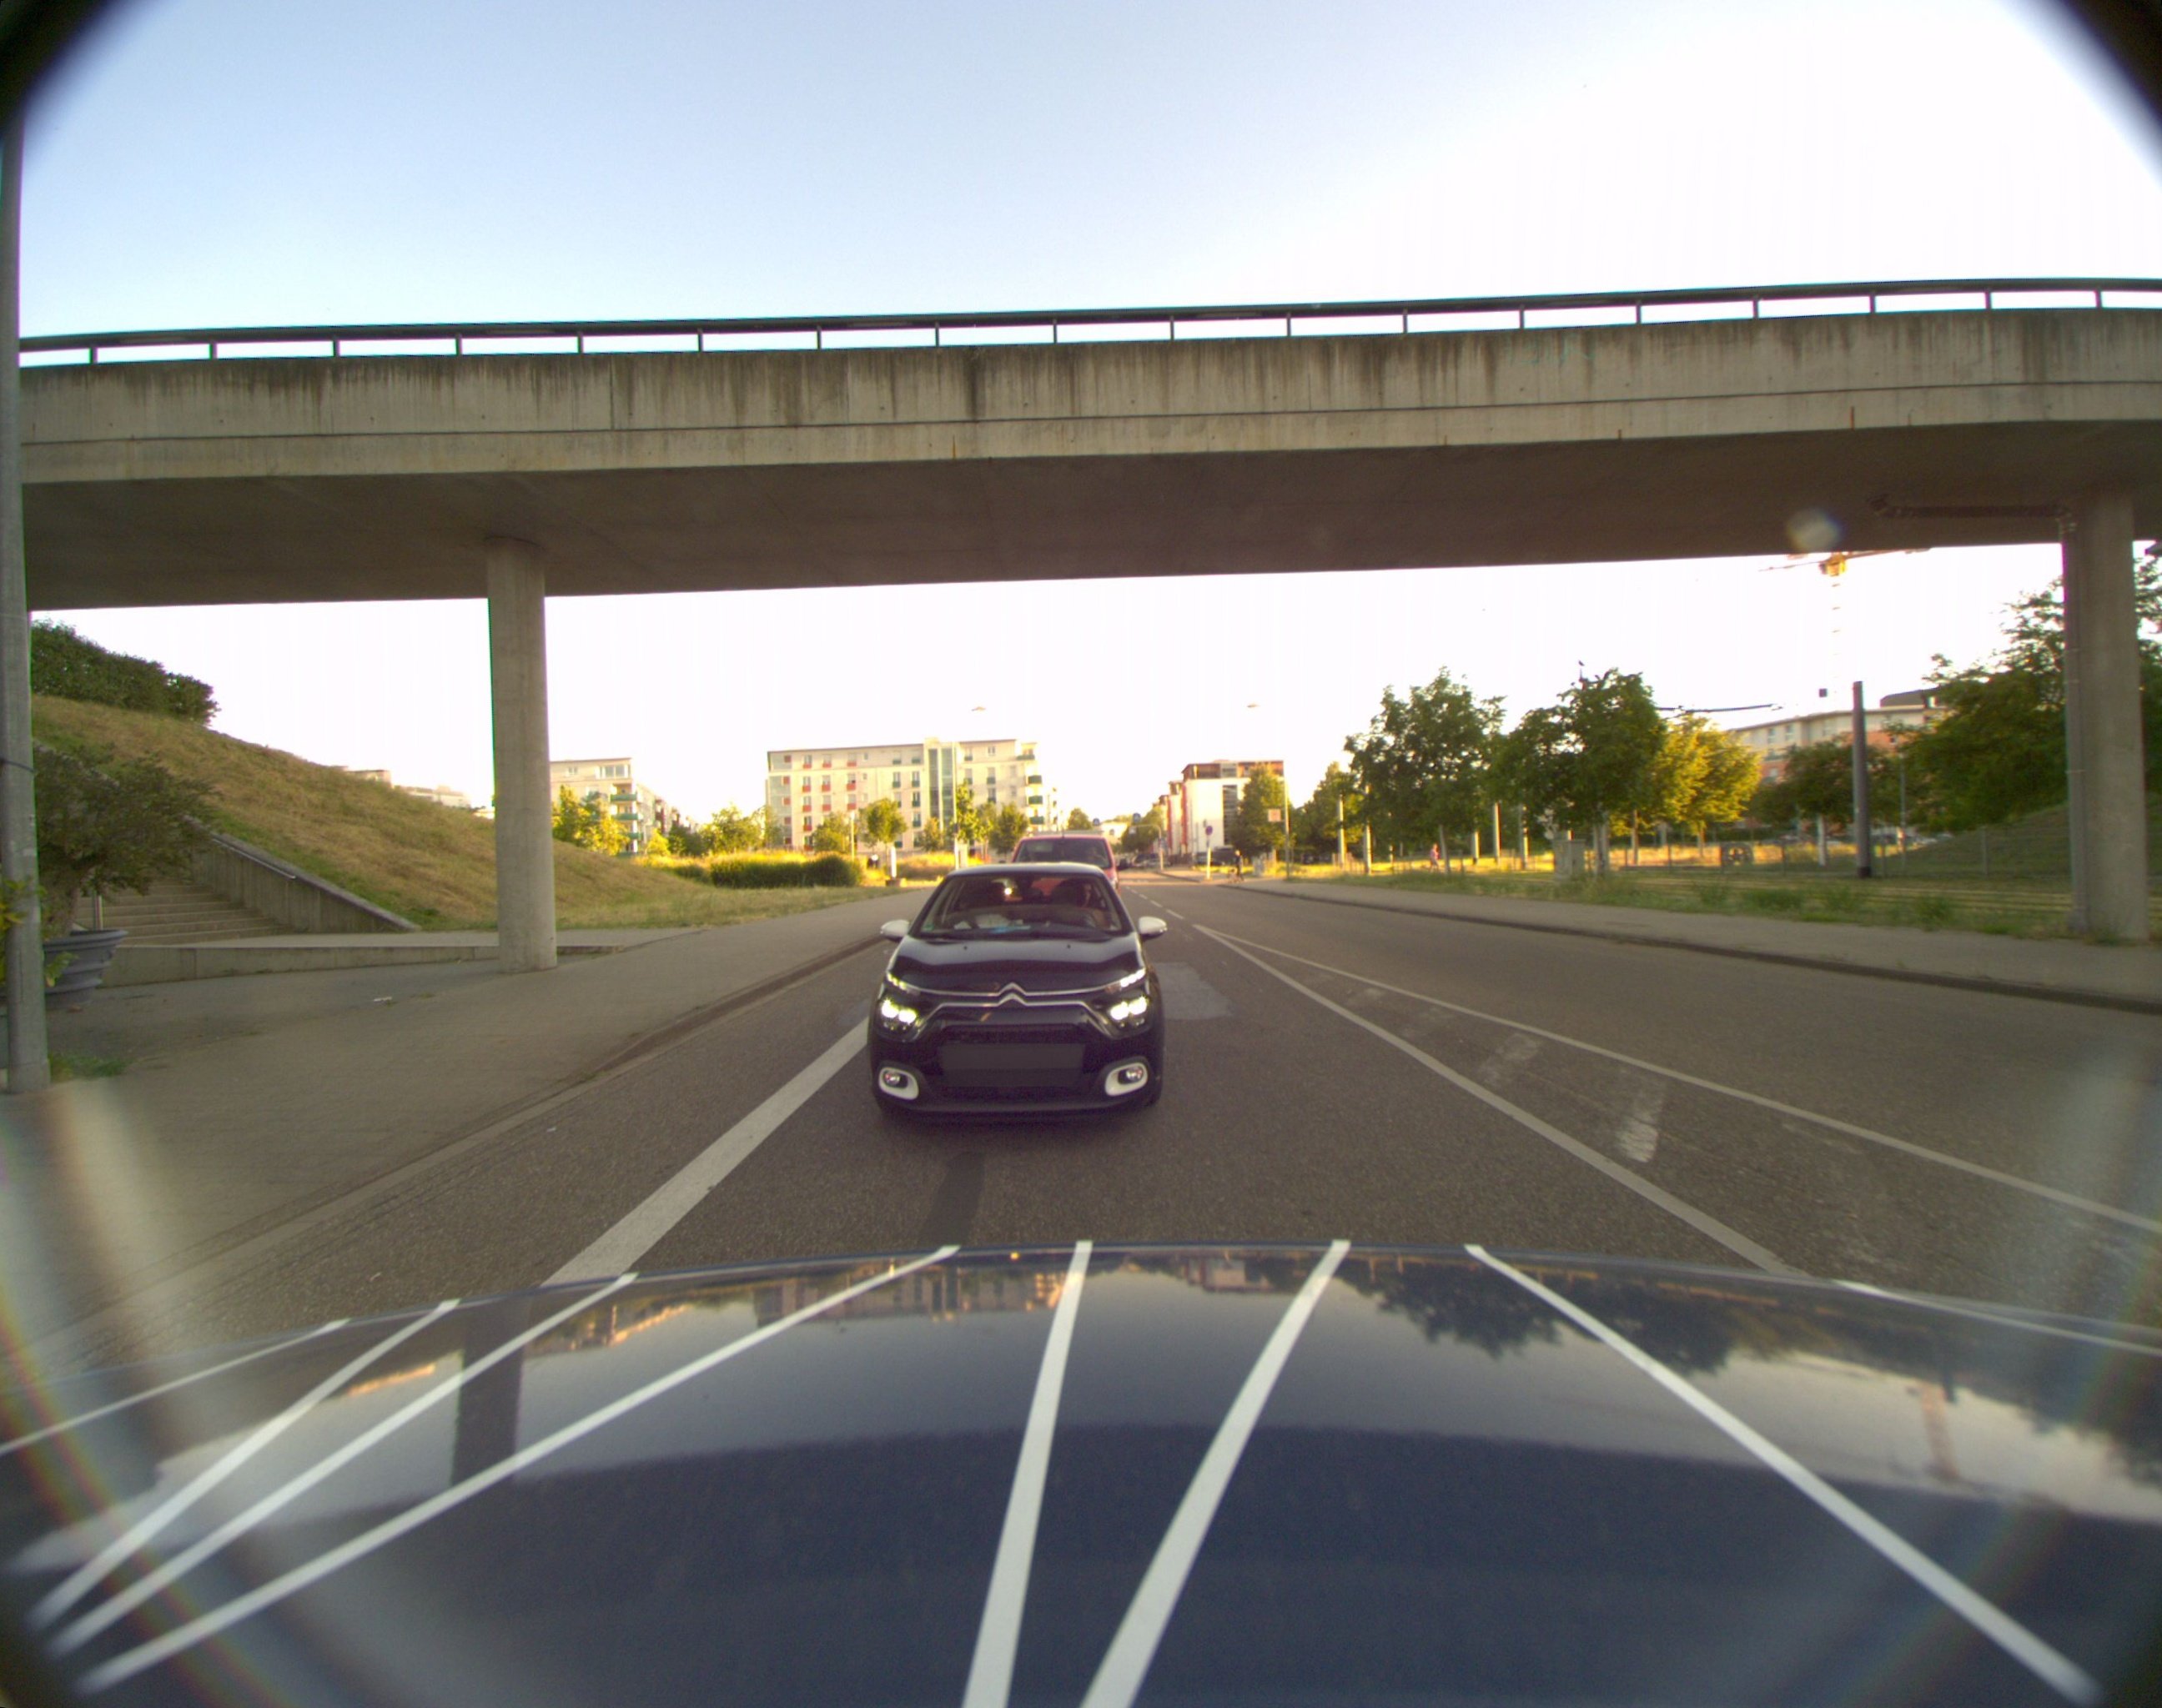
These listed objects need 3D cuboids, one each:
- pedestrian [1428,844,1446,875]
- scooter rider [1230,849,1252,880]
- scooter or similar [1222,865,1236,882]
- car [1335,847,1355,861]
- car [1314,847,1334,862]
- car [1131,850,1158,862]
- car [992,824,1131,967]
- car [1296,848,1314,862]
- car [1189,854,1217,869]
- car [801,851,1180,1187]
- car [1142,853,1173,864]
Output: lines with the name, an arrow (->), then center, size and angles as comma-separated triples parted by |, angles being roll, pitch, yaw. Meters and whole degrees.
pedestrian -> 18.784, 0.277, 40.097 | 0.779, 1.602, 0.417 | -2, 0, 12
scooter rider -> 8.439, 0.546, 40.126 | 0.898, 1.568, 0.711 | -2, 0, -5
scooter or similar -> 7.802, 1.032, 40.074 | 0.553, 0.890, 0.722 | -1, 1, -5
car -> 33.492, -0.048, 96.568 | 1.869, 1.710, 3.848 | -2, 0, 12
car -> 30.981, 0.046, 96.842 | 1.869, 1.710, 3.848 | -2, 0, 9
car -> 11.997, 0.353, 144.159 | 4.745, 2.002, 1.999 | -2, 1, -2
car -> -0.303, 0.613, 13.434 | 1.931, 1.979, 4.822 | -3, 0, -1
car -> 28.604, 0.139, 97.210 | 1.869, 1.710, 3.848 | -2, 0, 12
car -> 14.515, 0.882, 90.286 | 1.995, 1.554, 4.007 | -2, 0, 30
car -> -0.482, 0.795, 5.684 | 1.760, 1.543, 4.071 | -2, 0, -2
car -> 11.449, 0.658, 113.983 | 4.387, 1.550, 1.839 | -2, 1, 2
